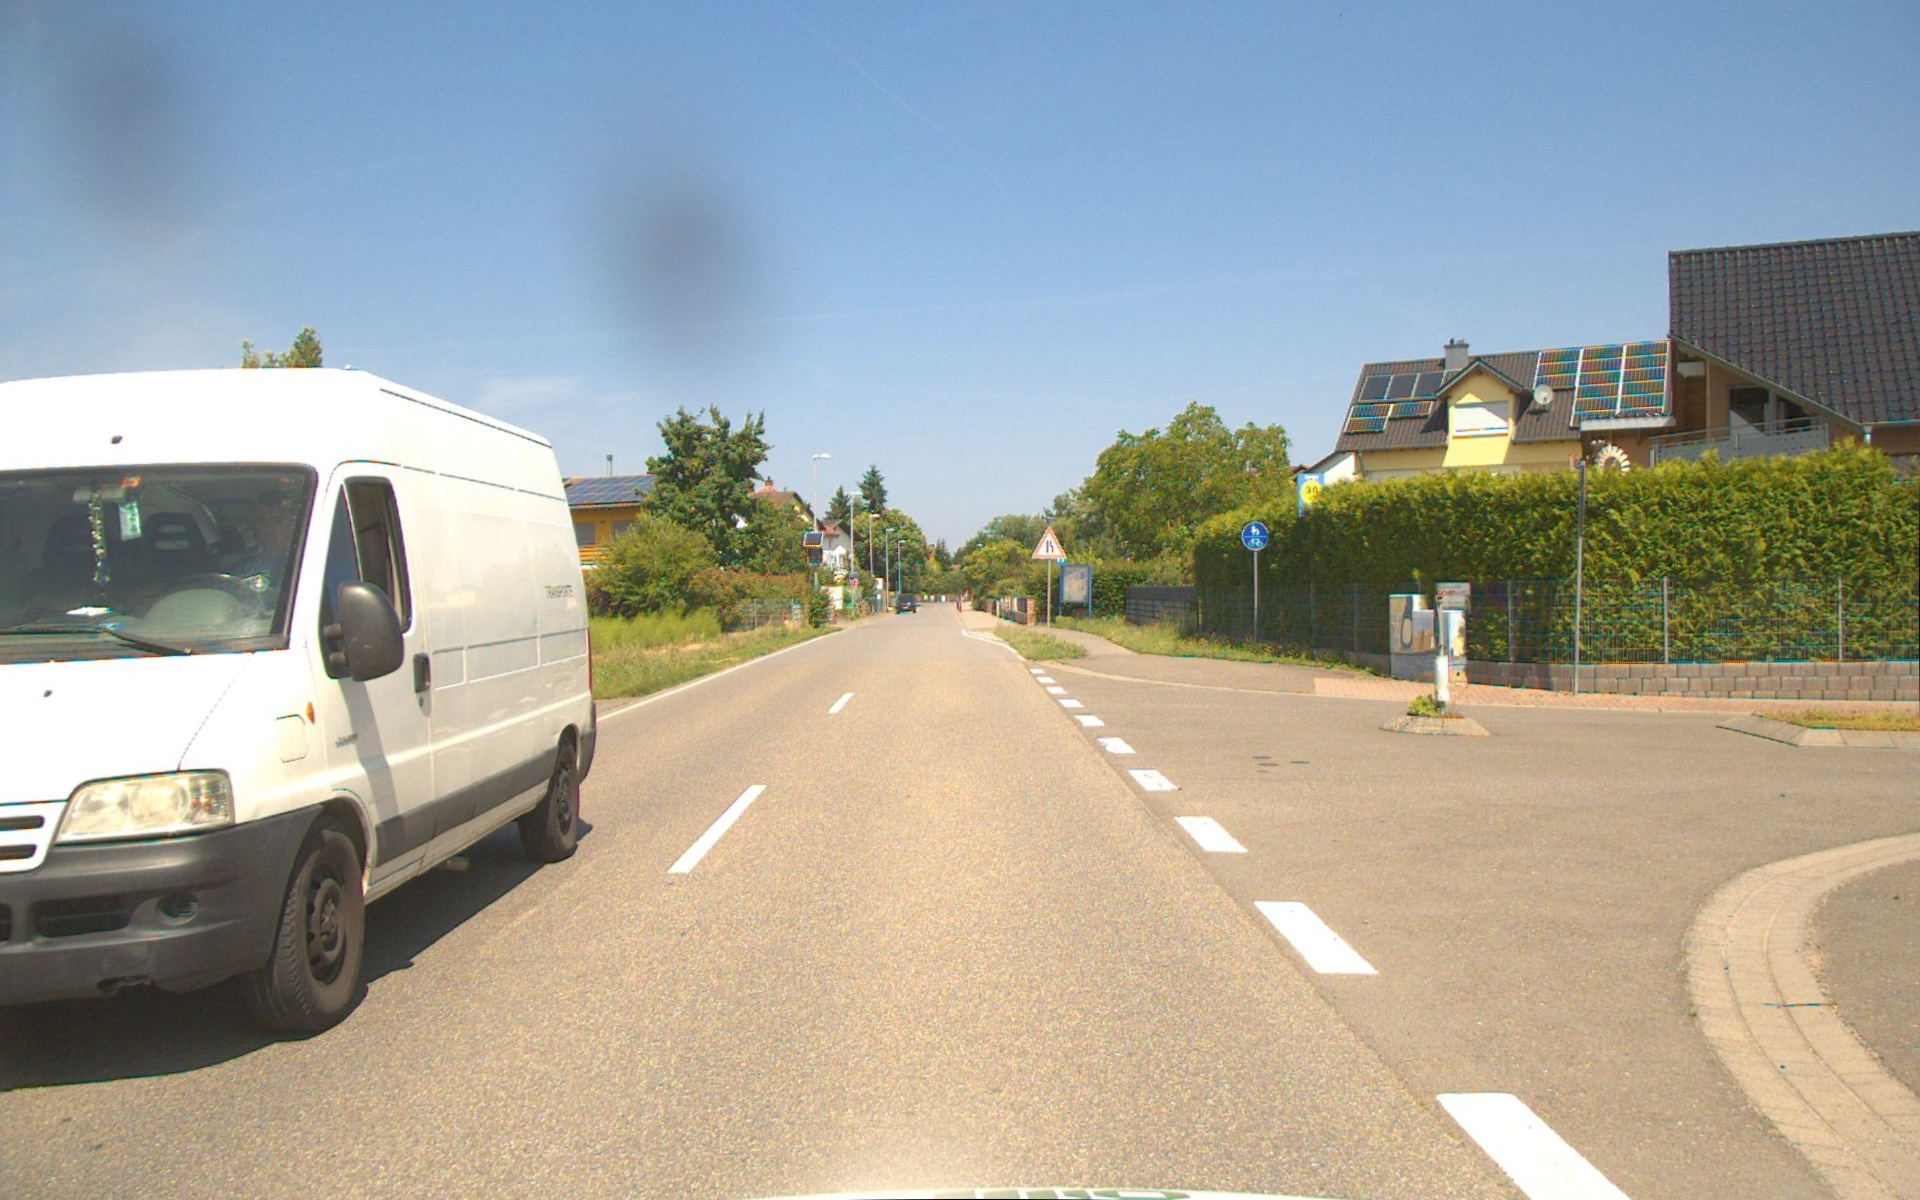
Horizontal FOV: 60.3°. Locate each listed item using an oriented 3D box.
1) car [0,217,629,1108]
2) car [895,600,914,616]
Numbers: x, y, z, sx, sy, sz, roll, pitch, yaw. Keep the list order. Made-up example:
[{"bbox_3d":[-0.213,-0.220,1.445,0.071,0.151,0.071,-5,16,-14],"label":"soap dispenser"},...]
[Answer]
[{"bbox_3d":[-3.160,0.175,7.765,2.035,2.586,5.872,-2,1,-1],"label":"car"},{"bbox_3d":[-5.158,0.714,153.611,1.723,1.409,3.452,-2,0,-1],"label":"car"}]
